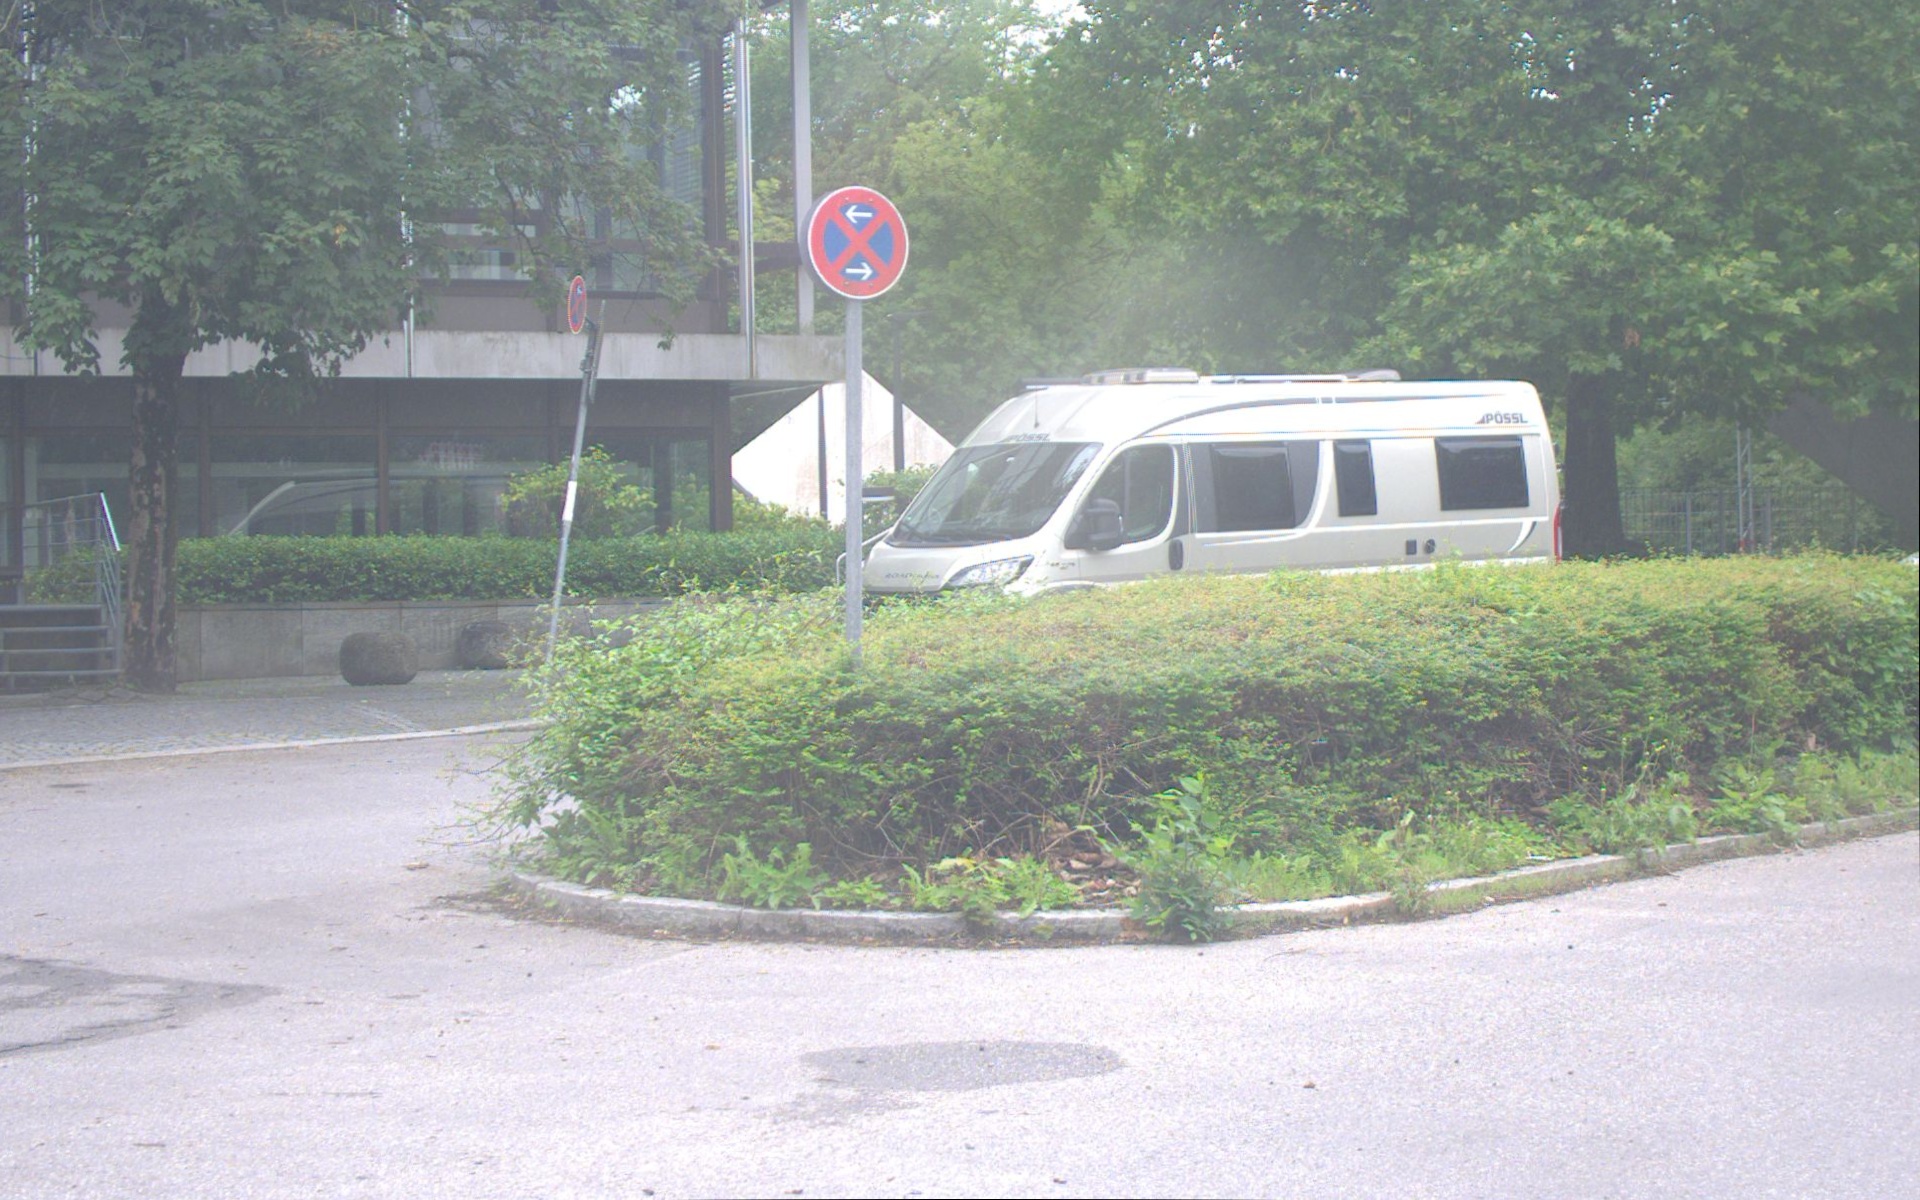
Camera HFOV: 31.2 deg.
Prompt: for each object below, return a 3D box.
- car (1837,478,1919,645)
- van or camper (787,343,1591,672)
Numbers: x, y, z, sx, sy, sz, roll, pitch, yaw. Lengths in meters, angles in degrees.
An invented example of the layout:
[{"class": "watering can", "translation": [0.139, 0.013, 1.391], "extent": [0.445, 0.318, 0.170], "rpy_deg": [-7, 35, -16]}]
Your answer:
[{"class": "car", "translation": [10.393, -0.401, 31.856], "extent": [3.986, 1.503, 2.000], "rpy_deg": [-2, 1, -24]}, {"class": "van or camper", "translation": [1.916, -0.714, 26.687], "extent": [6.400, 2.273, 2.254], "rpy_deg": [-2, 1, -39]}]
